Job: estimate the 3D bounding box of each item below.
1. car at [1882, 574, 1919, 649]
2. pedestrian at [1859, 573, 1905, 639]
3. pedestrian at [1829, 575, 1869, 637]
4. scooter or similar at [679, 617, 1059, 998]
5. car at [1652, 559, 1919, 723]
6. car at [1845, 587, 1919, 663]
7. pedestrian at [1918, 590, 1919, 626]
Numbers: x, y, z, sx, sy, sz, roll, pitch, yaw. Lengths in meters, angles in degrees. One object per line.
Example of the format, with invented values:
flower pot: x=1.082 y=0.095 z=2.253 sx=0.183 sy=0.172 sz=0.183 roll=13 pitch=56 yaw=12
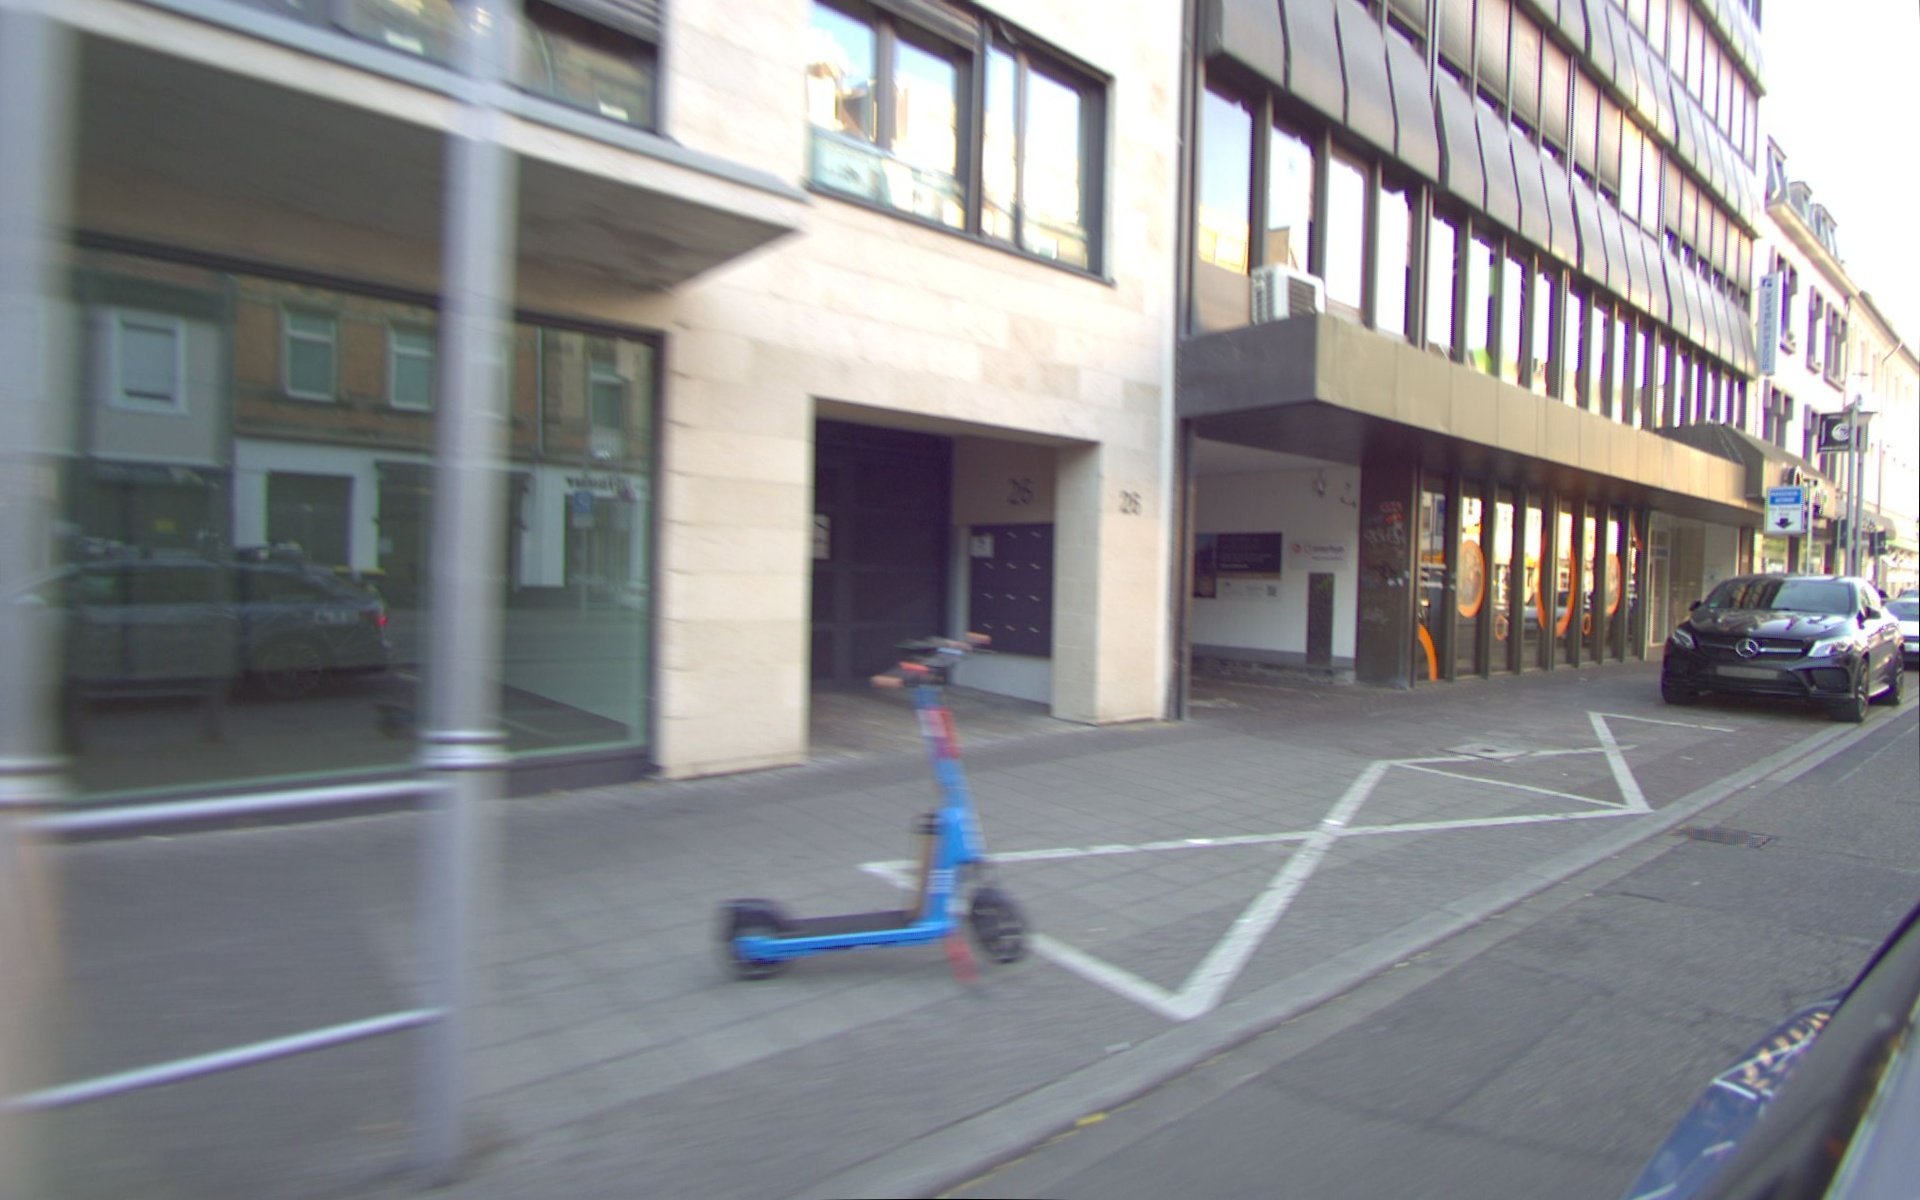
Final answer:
car: x=24.643 y=0.297 z=25.114 sx=4.496 sy=1.748 sz=1.998 roll=0 pitch=4 yaw=-40
pedestrian: x=26.487 y=0.151 z=29.071 sx=0.911 sy=1.827 sz=0.768 roll=0 pitch=3 yaw=-39
pedestrian: x=25.795 y=0.172 z=29.366 sx=0.666 sy=1.739 sz=0.651 roll=0 pitch=4 yaw=-39
scooter or similar: x=-0.316 y=0.704 z=3.629 sx=1.240 sy=1.235 sz=0.500 roll=1 pitch=1 yaw=-3
car: x=10.936 y=0.407 z=13.213 sx=4.485 sy=1.748 sz=1.998 roll=0 pitch=3 yaw=-40
car: x=20.146 y=0.508 z=21.235 sx=3.818 sy=1.450 sz=1.800 roll=0 pitch=2 yaw=-40
pedestrian: x=38.505 y=0.064 z=40.097 sx=0.864 sy=1.951 sz=0.662 roll=0 pitch=3 yaw=-42
